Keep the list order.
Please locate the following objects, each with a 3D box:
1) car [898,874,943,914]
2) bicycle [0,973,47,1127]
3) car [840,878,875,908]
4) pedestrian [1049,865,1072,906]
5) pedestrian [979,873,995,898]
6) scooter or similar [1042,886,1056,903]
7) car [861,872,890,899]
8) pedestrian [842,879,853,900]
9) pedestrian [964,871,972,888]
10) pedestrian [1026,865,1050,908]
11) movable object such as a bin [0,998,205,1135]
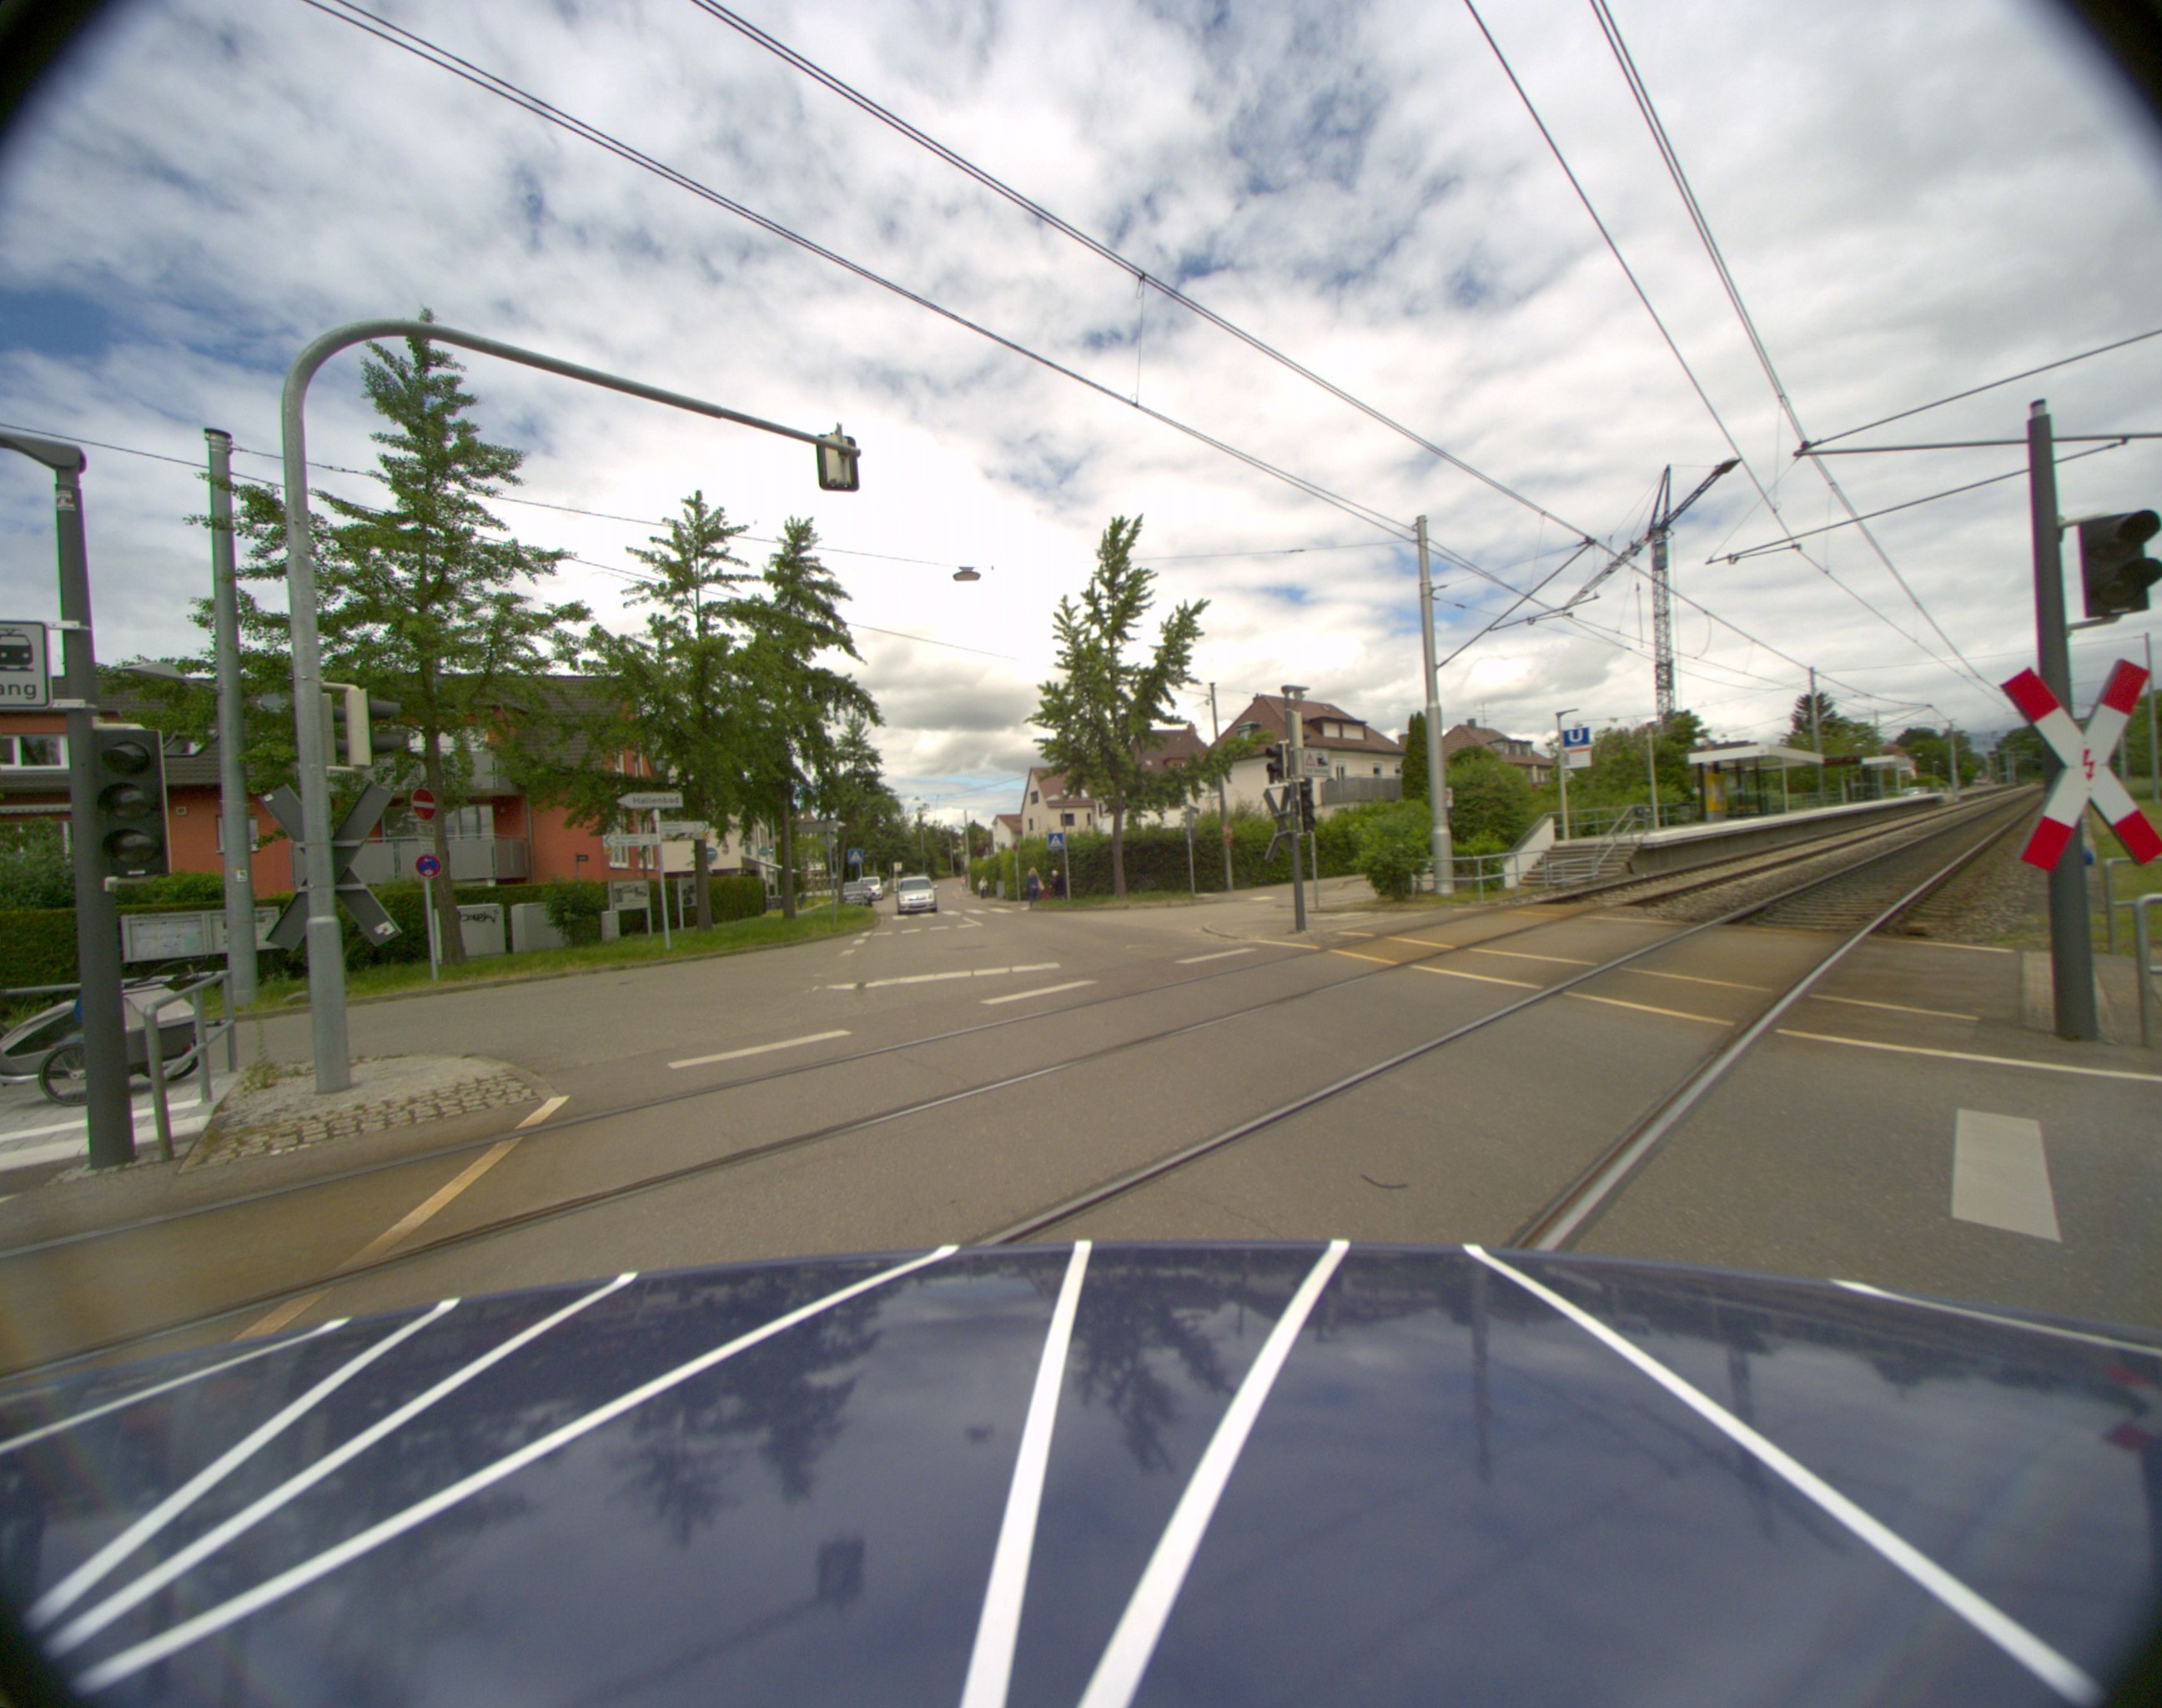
[{"bbox_3d":[-7.116,1.709,33.519,1.727,1.558,3.923,-4,-1,-13],"label":"car"},{"bbox_3d":[-9.271,1.593,5.737,1.694,1.149,0.466,-3,0,-22],"label":"bicycle"},{"bbox_3d":[-13.722,2.337,46.710,1.854,1.626,4.461,-4,0,-16],"label":"car"},{"bbox_3d":[-0.821,1.297,31.268,0.597,1.610,0.678,-6,0,17],"label":"pedestrian"},{"bbox_3d":[-6.045,2.022,48.770,0.750,1.522,0.543,-5,0,-27],"label":"pedestrian"},{"bbox_3d":[-1.319,1.671,31.250,0.399,0.606,0.489,-6,1,17],"label":"scooter or similar"},{"bbox_3d":[-17.213,2.633,63.843,2.001,2.002,5.561,-5,0,-14],"label":"car"},{"bbox_3d":[-18.413,2.784,59.876,0.678,1.659,0.659,-2,0,-14],"label":"pedestrian"},{"bbox_3d":[-11.112,2.526,74.391,0.620,1.589,0.608,-3,0,-15],"label":"pedestrian"},{"bbox_3d":[-1.719,1.282,30.311,0.597,1.610,0.678,-6,0,17],"label":"pedestrian"},{"bbox_3d":[-7.781,1.638,5.902,1.095,0.820,0.579,-4,0,-18],"label":"movable object such as a bin"}]
